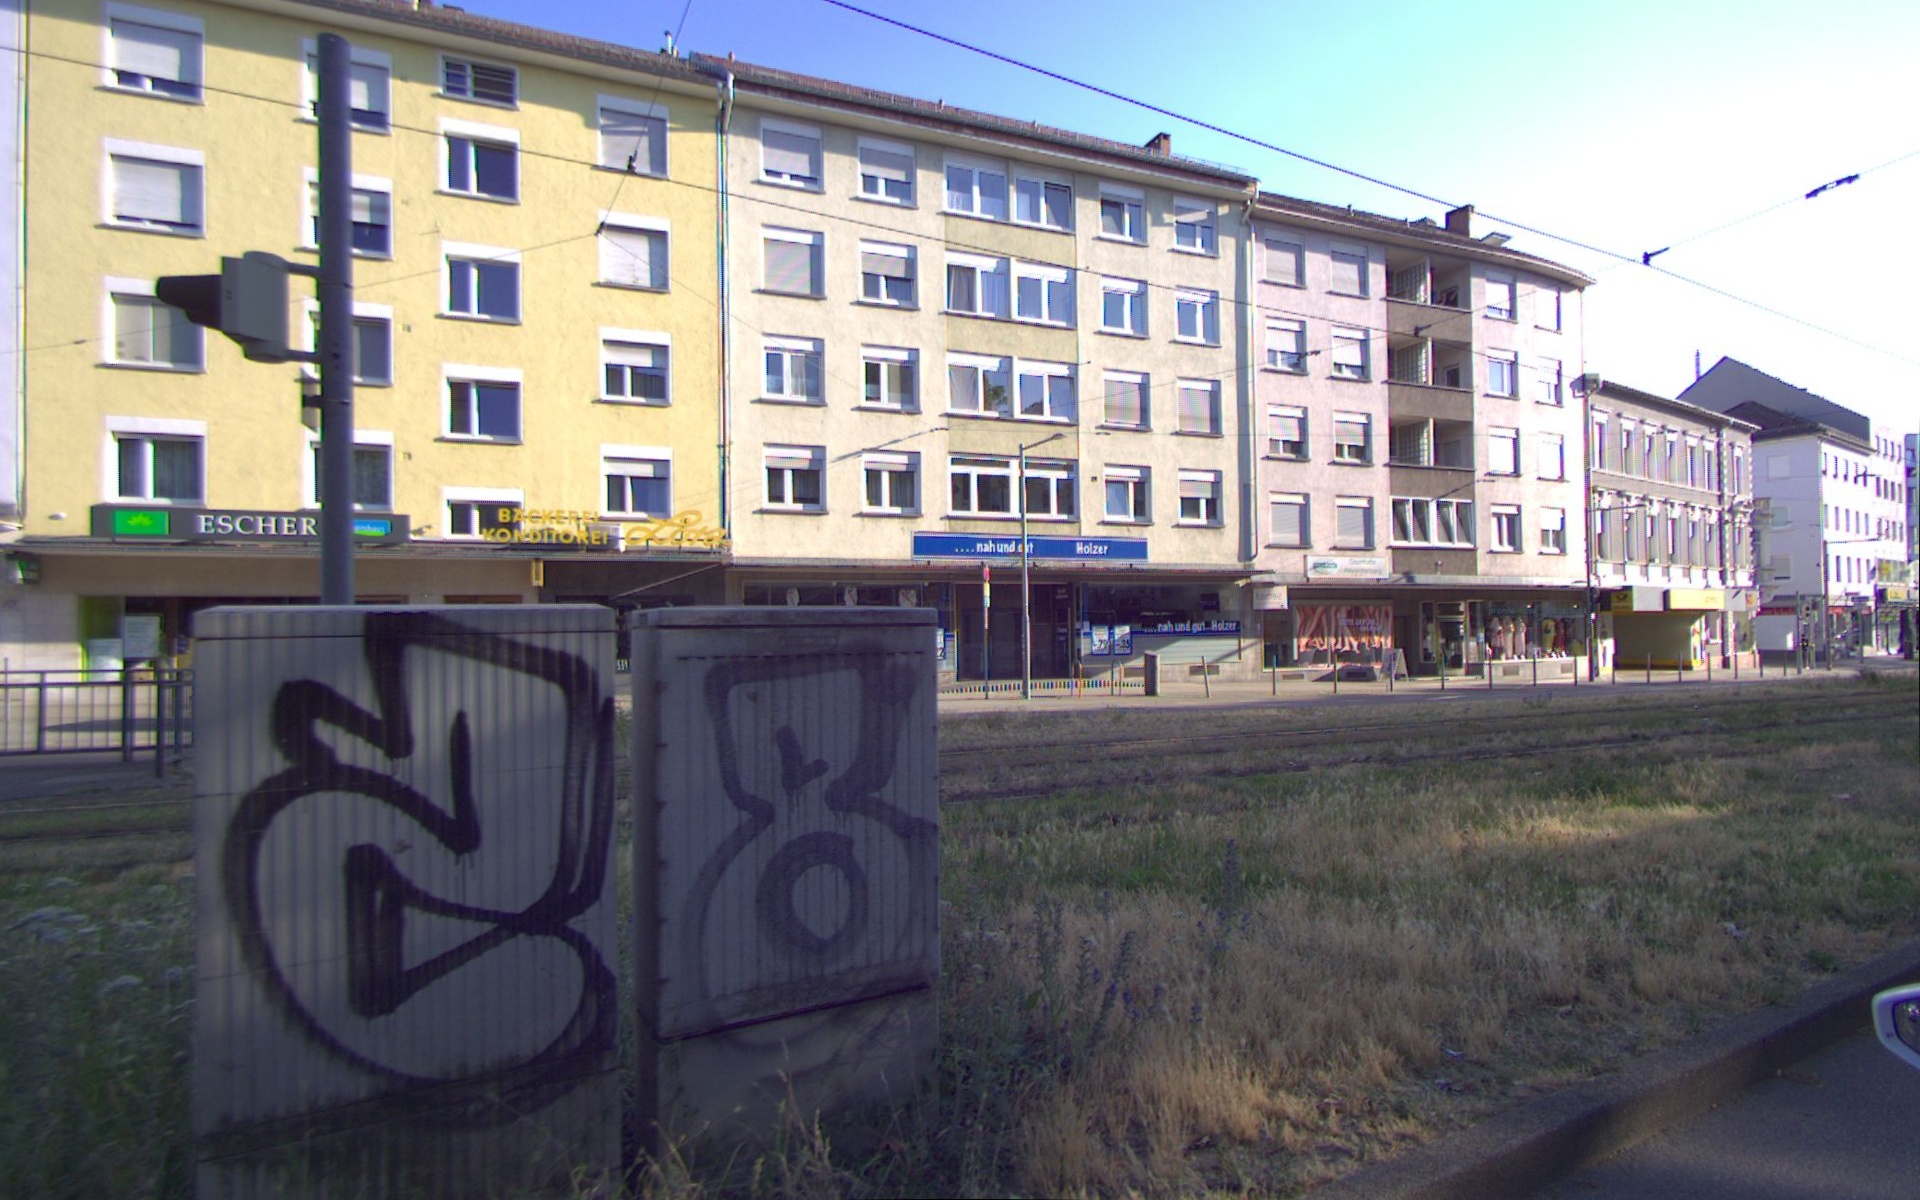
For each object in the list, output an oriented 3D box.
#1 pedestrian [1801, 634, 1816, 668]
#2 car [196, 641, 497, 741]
[{"bbox_3d":[43.444,2.601,51.423,0.501,1.736,0.424,1,-2,-27],"label":"pedestrian"},{"bbox_3d":[-10.682,1.528,17.914,4.354,1.498,1.986,1,0,-27],"label":"car"}]
